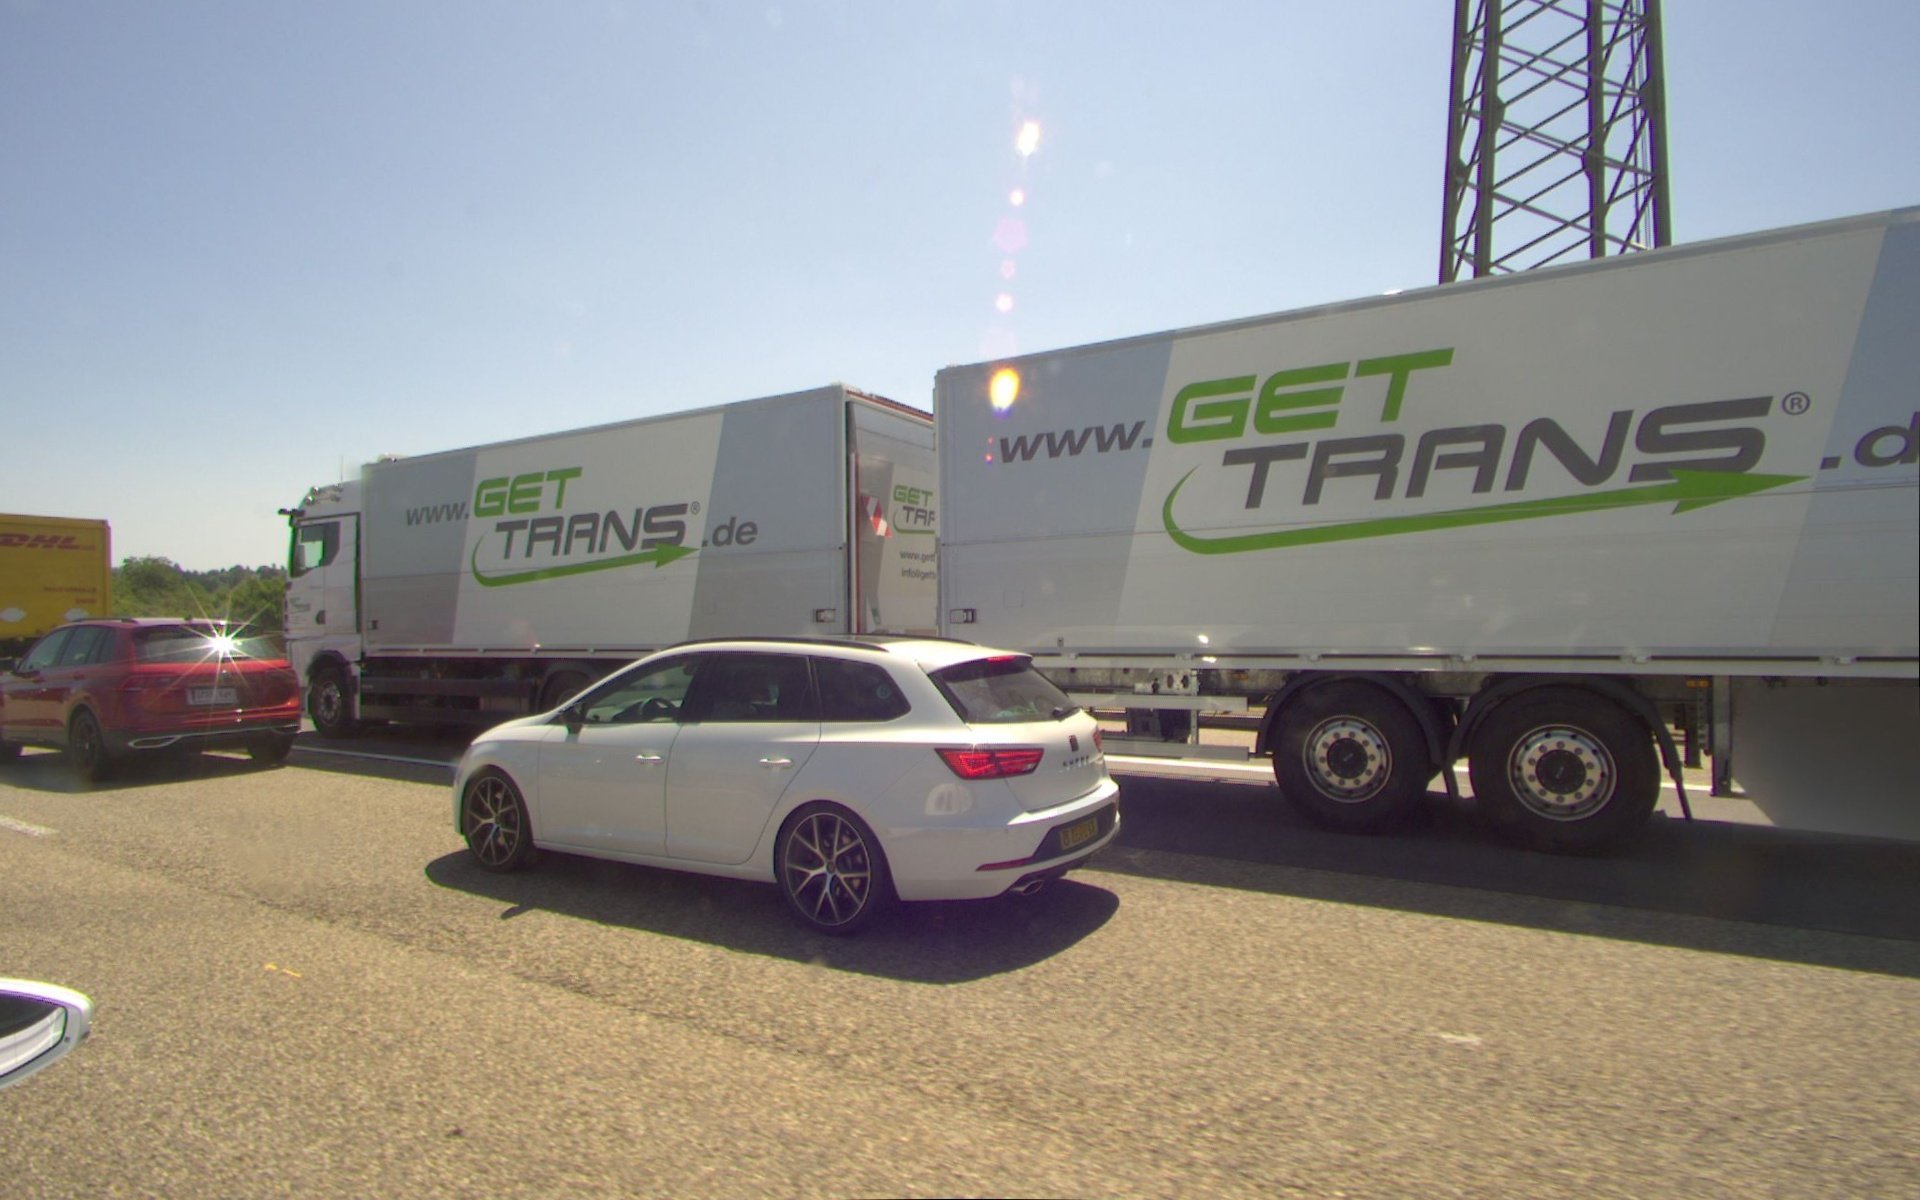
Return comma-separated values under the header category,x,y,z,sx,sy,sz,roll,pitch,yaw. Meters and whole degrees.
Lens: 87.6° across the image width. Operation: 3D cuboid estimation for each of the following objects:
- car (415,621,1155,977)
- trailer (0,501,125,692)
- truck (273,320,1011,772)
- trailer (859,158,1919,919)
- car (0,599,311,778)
category,x,y,z,sx,sy,sz,roll,pitch,yaw
car,-1.199,0.870,6.024,4.364,1.470,1.706,-1,-2,31
trailer,-24.138,0.054,24.670,8.849,4.139,2.679,-2,-2,31
truck,-4.622,-0.306,12.788,10.457,3.984,2.848,-2,-2,32
trailer,3.301,-0.212,7.909,8.096,3.941,2.894,-2,-2,32
car,-9.393,0.946,11.345,4.222,1.699,1.707,-2,-3,31
